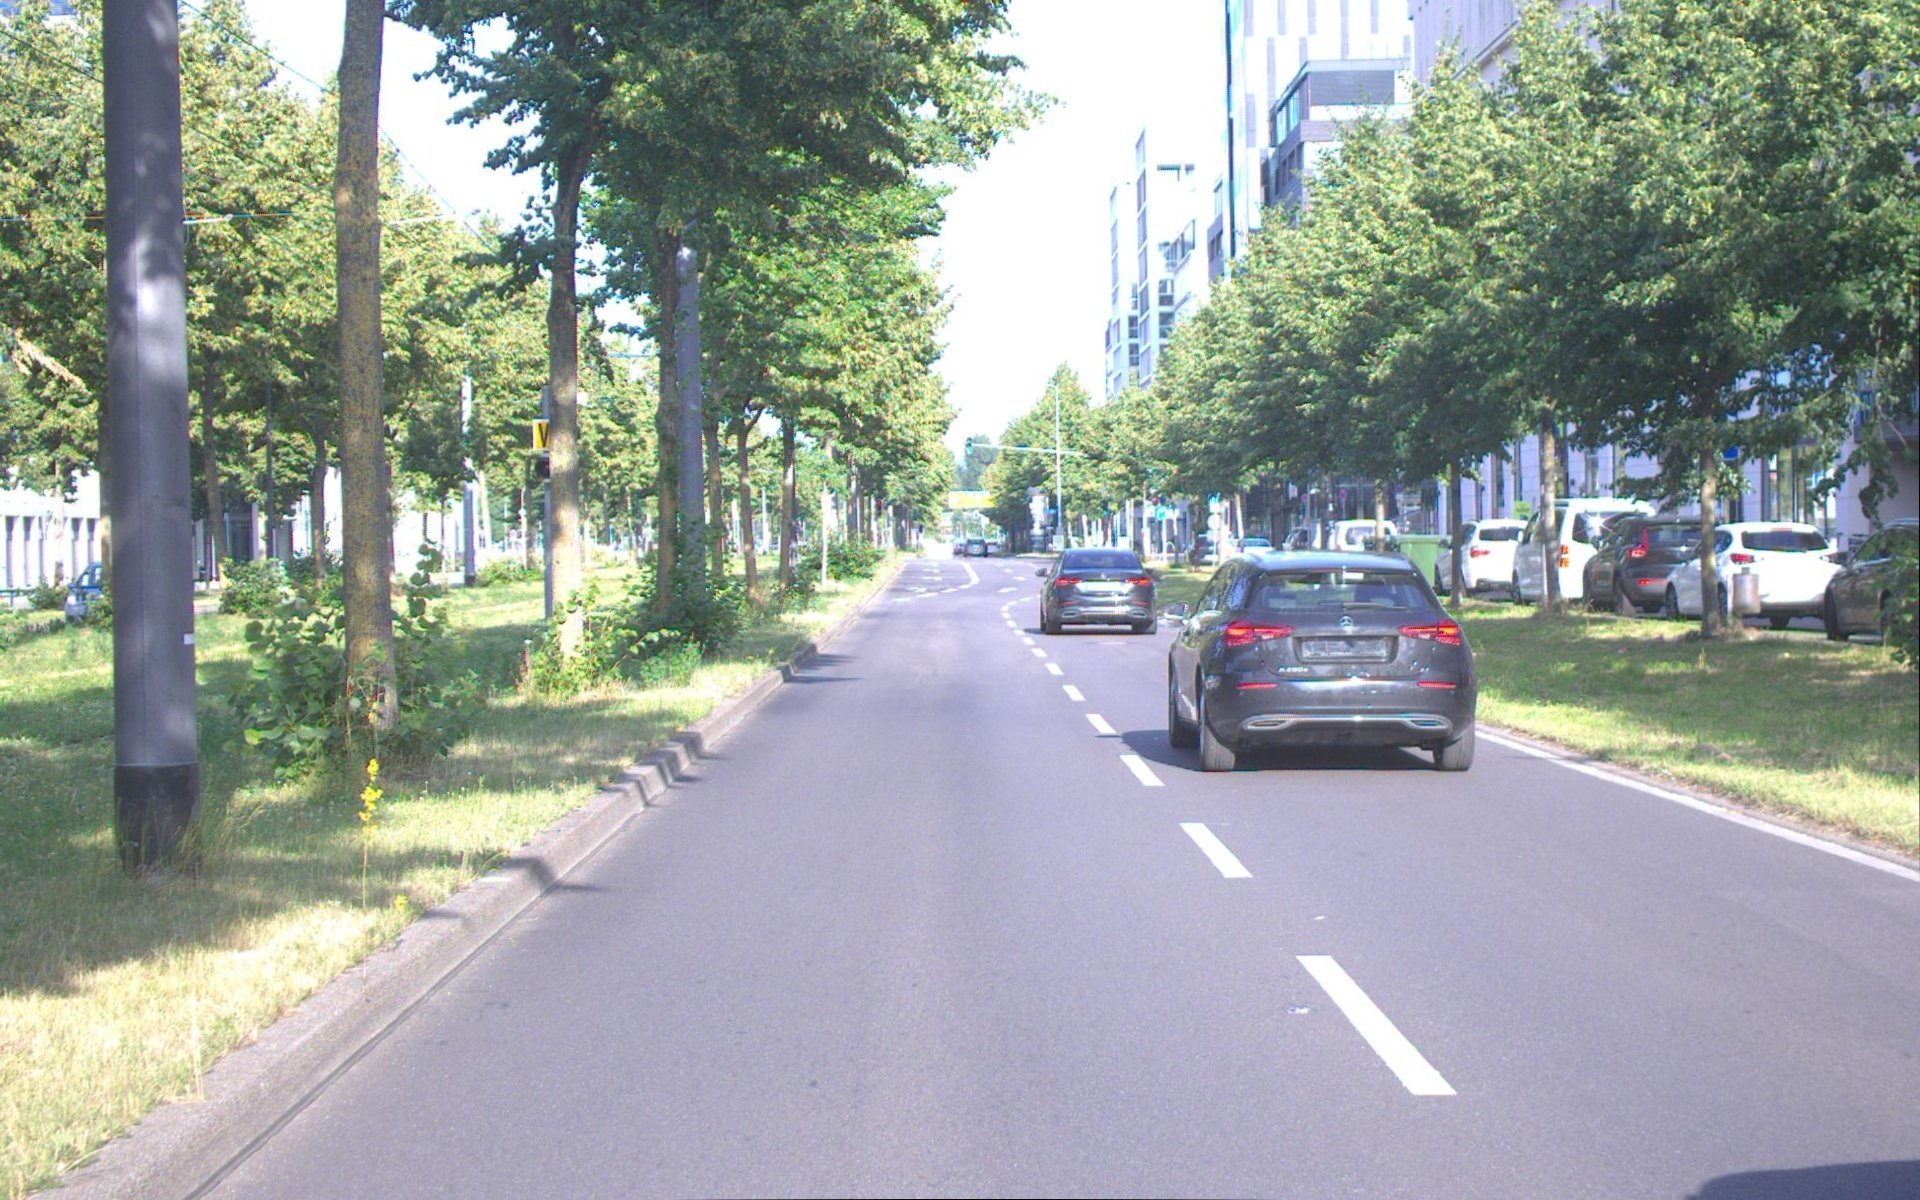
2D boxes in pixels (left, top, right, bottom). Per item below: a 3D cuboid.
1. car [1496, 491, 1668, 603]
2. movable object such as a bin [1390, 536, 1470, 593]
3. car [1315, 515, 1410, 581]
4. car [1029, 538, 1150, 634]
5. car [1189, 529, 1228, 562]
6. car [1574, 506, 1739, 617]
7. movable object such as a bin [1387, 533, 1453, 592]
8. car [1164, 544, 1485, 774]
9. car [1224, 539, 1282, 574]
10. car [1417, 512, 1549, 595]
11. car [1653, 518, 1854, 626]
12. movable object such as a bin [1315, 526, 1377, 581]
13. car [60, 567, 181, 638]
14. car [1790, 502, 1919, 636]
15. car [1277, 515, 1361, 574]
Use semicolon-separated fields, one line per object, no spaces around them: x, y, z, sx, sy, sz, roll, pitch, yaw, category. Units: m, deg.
10.883;-0.925;60.498;1.837;1.869;5.032;1;1;-3;car
10.477;-0.793;76.571;1.400;1.232;1.333;1;1;27;movable object such as a bin
10.757;-1.389;92.160;1.827;1.706;4.297;1;1;-3;car
2.123;-0.242;57.291;1.859;1.519;3.786;1;1;0;car
10.576;-2.311;146.208;1.607;1.366;4.157;1;1;5;car
10.887;-0.603;54.004;1.728;1.644;4.339;1;1;1;car
10.445;-0.850;78.098;1.277;1.297;1.191;1;0;-3;movable object such as a bin
2.405;0.351;23.556;1.774;1.419;3.961;1;1;0;car
10.645;-1.590;125.155;1.708;1.238;3.906;1;1;-1;car
10.773;-0.981;71.048;1.730;1.624;4.851;-1;1;-3;car
10.968;-0.393;47.783;1.615;1.407;4.168;1;1;-3;car
9.291;-1.122;82.866;1.277;1.287;1.178;1;0;-3;movable object such as a bin
-17.175;0.026;70.472;1.583;1.388;3.696;1;1;0;car
10.864;-0.349;39.153;1.728;1.427;4.722;1;1;1;car
10.874;-1.706;104.412;1.897;1.702;4.678;1;2;-2;car
